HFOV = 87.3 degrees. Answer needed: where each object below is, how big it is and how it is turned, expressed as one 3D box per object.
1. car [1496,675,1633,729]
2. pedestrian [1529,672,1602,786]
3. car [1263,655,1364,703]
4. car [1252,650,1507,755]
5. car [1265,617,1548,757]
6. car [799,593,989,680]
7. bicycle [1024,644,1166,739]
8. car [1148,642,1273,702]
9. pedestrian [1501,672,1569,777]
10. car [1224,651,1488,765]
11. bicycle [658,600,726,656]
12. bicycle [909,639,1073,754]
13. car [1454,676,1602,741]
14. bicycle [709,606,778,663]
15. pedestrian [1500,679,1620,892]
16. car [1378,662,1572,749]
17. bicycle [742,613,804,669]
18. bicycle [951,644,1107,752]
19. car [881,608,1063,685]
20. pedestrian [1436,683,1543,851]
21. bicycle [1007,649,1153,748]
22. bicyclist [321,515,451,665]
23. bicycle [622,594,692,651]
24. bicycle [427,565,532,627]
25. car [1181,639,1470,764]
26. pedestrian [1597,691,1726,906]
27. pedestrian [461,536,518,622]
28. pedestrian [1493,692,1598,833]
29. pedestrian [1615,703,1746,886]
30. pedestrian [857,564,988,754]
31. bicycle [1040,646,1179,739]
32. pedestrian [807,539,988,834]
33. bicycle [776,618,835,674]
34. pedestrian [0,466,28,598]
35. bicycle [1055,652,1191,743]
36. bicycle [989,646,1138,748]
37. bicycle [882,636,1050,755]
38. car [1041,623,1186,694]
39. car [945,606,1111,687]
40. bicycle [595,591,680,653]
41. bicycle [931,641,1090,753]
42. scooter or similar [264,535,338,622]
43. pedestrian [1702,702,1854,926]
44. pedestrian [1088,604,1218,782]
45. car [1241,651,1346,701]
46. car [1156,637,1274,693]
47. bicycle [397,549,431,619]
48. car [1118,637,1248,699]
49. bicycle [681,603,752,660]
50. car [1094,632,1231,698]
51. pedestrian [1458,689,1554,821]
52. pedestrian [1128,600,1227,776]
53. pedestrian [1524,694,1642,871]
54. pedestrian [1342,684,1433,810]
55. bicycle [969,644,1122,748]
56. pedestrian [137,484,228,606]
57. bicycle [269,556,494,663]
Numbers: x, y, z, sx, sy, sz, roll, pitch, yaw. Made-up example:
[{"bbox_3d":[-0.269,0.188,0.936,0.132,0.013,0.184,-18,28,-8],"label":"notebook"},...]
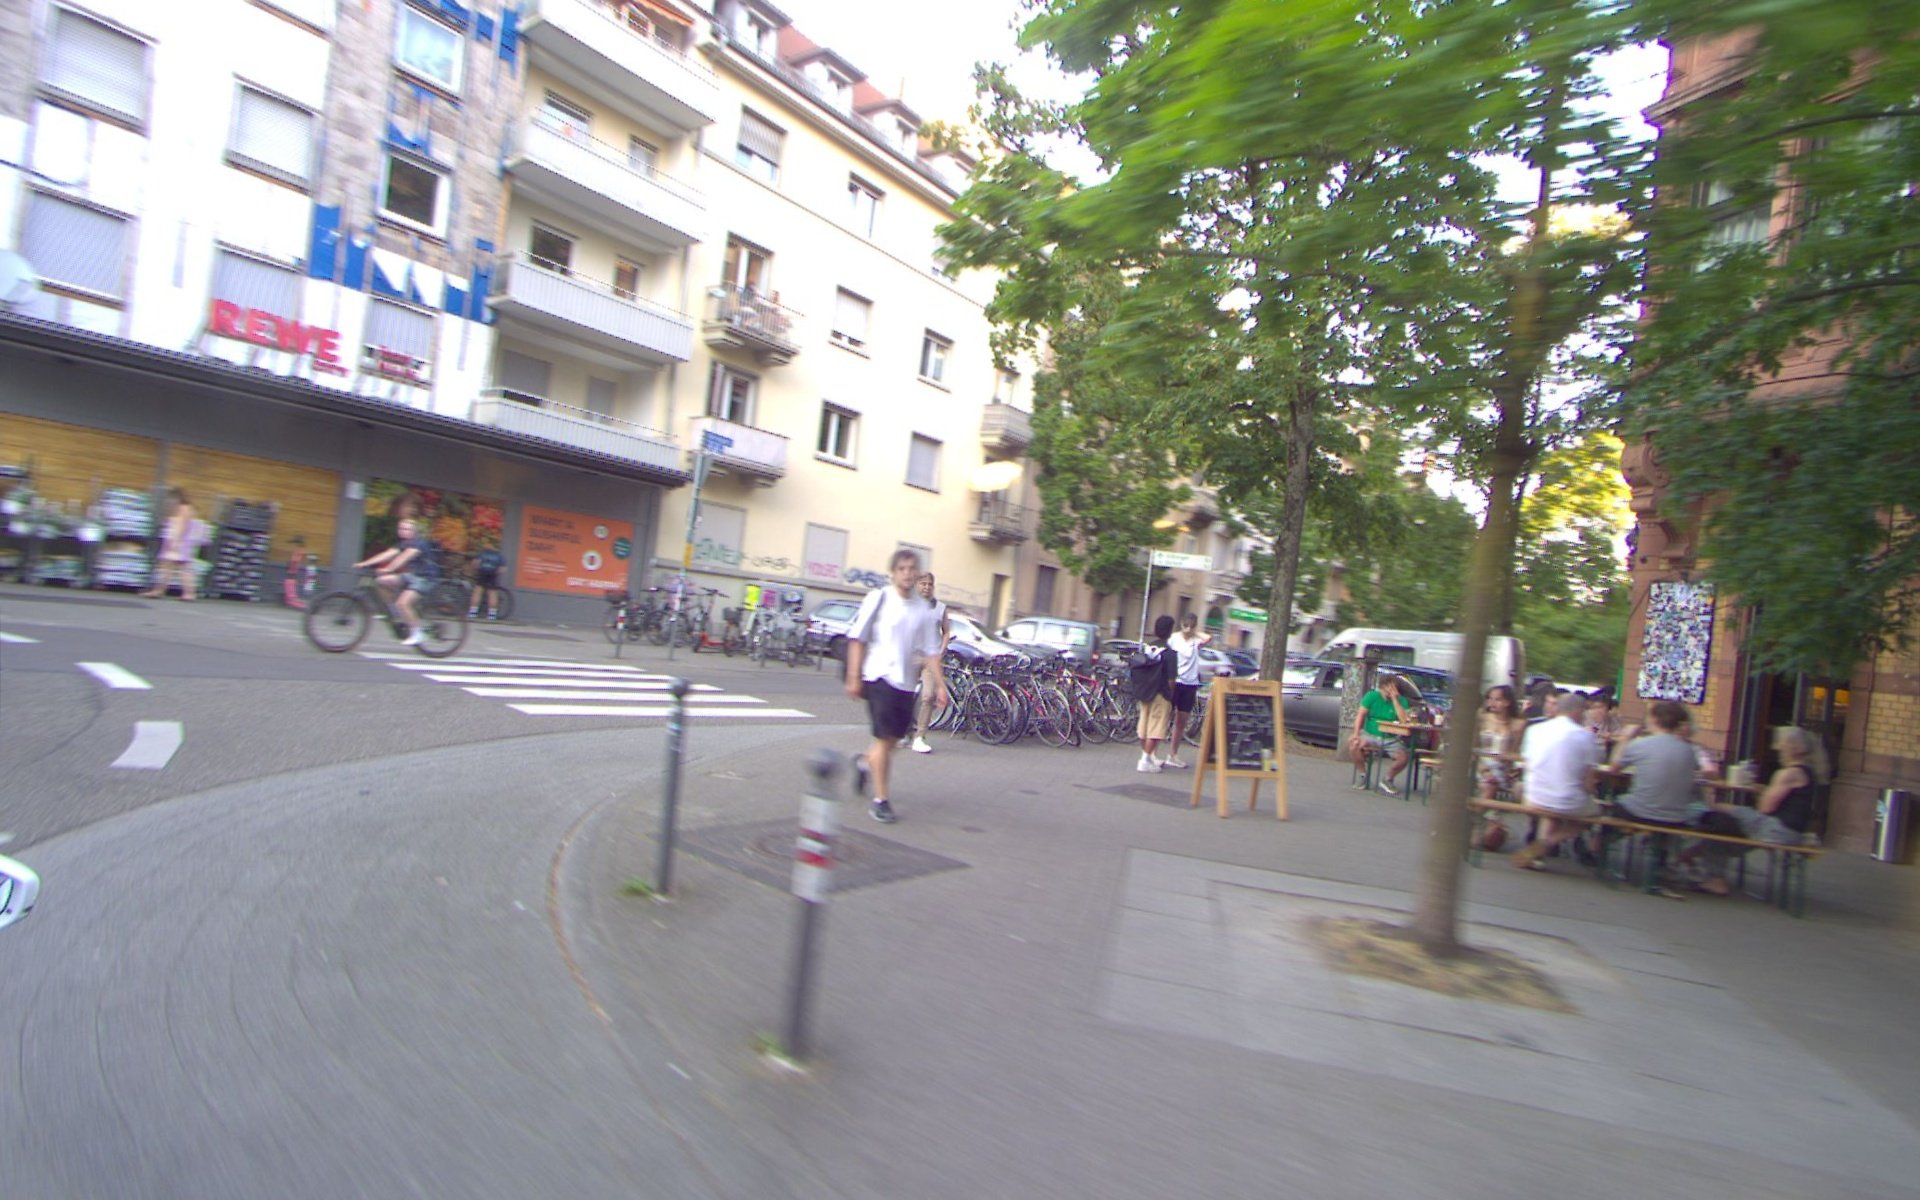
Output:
[{"bbox_3d":[27.780,4.674,46.318,5.122,1.805,1.994,5,-3,38],"label":"car"},{"bbox_3d":[9.766,2.073,16.222,0.737,1.696,0.763,5,-2,43],"label":"pedestrian"},{"bbox_3d":[17.364,3.885,49.609,4.459,1.805,2.002,6,-2,18],"label":"car"},{"bbox_3d":[8.763,2.119,21.225,4.480,1.543,1.993,5,-3,40],"label":"car"},{"bbox_3d":[10.222,1.939,23.263,5.458,2.448,2.240,5,-2,36],"label":"car"},{"bbox_3d":[-1.575,0.929,25.263,4.460,1.543,2.002,7,-2,1],"label":"car"},{"bbox_3d":[1.968,1.332,14.916,2.003,1.147,0.434,5,-2,35],"label":"bicycle"},{"bbox_3d":[10.123,2.911,40.973,4.459,1.805,2.002,7,-2,3],"label":"car"},{"bbox_3d":[9.962,2.153,17.423,0.737,1.696,0.763,5,-2,43],"label":"pedestrian"},{"bbox_3d":[7.515,2.015,19.287,4.232,1.543,1.904,5,-3,40],"label":"car"},{"bbox_3d":[-5.499,0.604,20.732,0.370,1.038,2.018,6,-2,12],"label":"bicycle"},{"bbox_3d":[0.353,1.169,12.447,2.003,1.147,0.434,5,-2,35],"label":"bicycle"},{"bbox_3d":[21.303,4.057,37.816,4.477,1.805,1.994,5,-3,38],"label":"car"},{"bbox_3d":[-4.389,0.734,20.556,0.482,1.038,2.018,6,-2,12],"label":"bicycle"},{"bbox_3d":[4.270,1.291,7.190,0.458,1.396,0.547,6,-1,11],"label":"pedestrian"},{"bbox_3d":[14.533,2.951,28.497,4.477,1.805,1.994,5,-3,38],"label":"car"},{"bbox_3d":[-3.817,0.868,20.655,0.482,1.038,2.018,6,-2,10],"label":"bicycle"},{"bbox_3d":[0.876,1.264,13.261,2.003,1.147,0.434,5,-2,35],"label":"bicycle"},{"bbox_3d":[0.336,1.278,27.645,4.462,1.543,2.001,6,-2,23],"label":"car"},{"bbox_3d":[4.408,1.367,8.415,0.563,1.284,0.547,6,-1,15],"label":"pedestrian"},{"bbox_3d":[1.696,1.383,14.425,2.003,1.147,0.434,5,-2,35],"label":"bicycle"},{"bbox_3d":[-7.164,-0.107,12.578,0.778,1.709,0.996,7,0,30],"label":"bicyclist"},{"bbox_3d":[-6.258,0.490,20.896,0.370,1.038,2.018,6,-2,12],"label":"bicycle"},{"bbox_3d":[-9.770,-0.063,20.513,0.372,1.038,1.877,6,-3,37],"label":"bicycle"},{"bbox_3d":[6.277,1.717,17.511,4.232,1.543,1.904,5,-3,40],"label":"car"},{"bbox_3d":[4.963,1.375,7.145,0.458,1.396,0.547,6,-1,11],"label":"pedestrian"},{"bbox_3d":[-9.432,-0.423,20.160,0.708,1.619,0.663,5,-2,43],"label":"pedestrian"},{"bbox_3d":[6.254,1.716,10.787,0.726,1.361,0.628,6,-1,17],"label":"pedestrian"},{"bbox_3d":[5.614,1.491,7.867,0.563,1.284,0.547,6,-1,15],"label":"pedestrian"},{"bbox_3d":[-0.395,0.608,10.528,0.861,1.849,0.829,8,-2,-35],"label":"pedestrian"},{"bbox_3d":[2.251,1.390,15.332,2.003,1.147,0.434,5,-2,35],"label":"bicycle"},{"bbox_3d":[-0.392,0.573,6.907,0.852,1.790,0.950,6,-1,9],"label":"pedestrian"},{"bbox_3d":[-3.126,0.953,20.531,0.482,1.038,2.018,6,-2,10],"label":"bicycle"},{"bbox_3d":[-12.723,-0.920,12.886,0.700,1.671,0.719,6,-1,13],"label":"pedestrian"},{"bbox_3d":[2.516,1.502,15.718,2.003,1.147,0.434,5,-2,35],"label":"bicycle"},{"bbox_3d":[1.412,1.333,14.040,2.003,1.147,0.434,5,-2,35],"label":"bicycle"},{"bbox_3d":[0.037,1.109,12.013,2.003,1.147,0.434,5,-2,35],"label":"bicycle"},{"bbox_3d":[5.131,1.972,34.109,4.460,1.805,2.002,7,-2,0],"label":"car"},{"bbox_3d":[2.045,1.383,29.702,4.458,1.805,2.003,6,-2,13],"label":"car"},{"bbox_3d":[-6.248,0.451,19.571,0.371,1.038,1.660,6,-2,31],"label":"bicycle"},{"bbox_3d":[0.612,1.212,12.851,2.003,1.147,0.434,5,-2,35],"label":"bicycle"},{"bbox_3d":[-10.938,-0.369,16.681,1.267,1.281,0.322,8,0,28],"label":"scooter or similar"},{"bbox_3d":[5.637,1.441,6.963,0.563,1.396,0.547,6,-1,20],"label":"pedestrian"},{"bbox_3d":[2.041,0.981,10.659,0.831,1.743,0.859,8,-2,-39],"label":"pedestrian"},{"bbox_3d":[15.737,3.590,47.625,4.459,1.805,2.002,6,-2,18],"label":"car"},{"bbox_3d":[10.941,2.797,43.394,4.459,1.805,2.002,7,-2,3],"label":"car"},{"bbox_3d":[-10.208,-0.299,18.798,0.345,1.217,1.795,7,-2,-31],"label":"bicycle"},{"bbox_3d":[8.574,2.624,38.934,4.459,1.805,2.002,7,-2,3],"label":"car"},{"bbox_3d":[-4.974,0.666,20.651,0.482,1.038,2.018,6,-2,12],"label":"bicycle"},{"bbox_3d":[7.324,2.365,36.707,4.460,1.805,2.002,7,-2,0],"label":"car"},{"bbox_3d":[6.225,1.745,11.498,0.726,1.361,0.628,6,-1,17],"label":"pedestrian"},{"bbox_3d":[2.471,0.991,11.547,0.852,1.849,0.838,6,-1,8],"label":"pedestrian"},{"bbox_3d":[4.997,1.440,8.100,0.563,1.284,0.547,6,-1,15],"label":"pedestrian"},{"bbox_3d":[4.672,1.589,11.038,0.726,1.246,0.628,6,-2,17],"label":"pedestrian"},{"bbox_3d":[1.131,1.280,13.652,2.003,1.147,0.434,5,-2,35],"label":"bicycle"},{"bbox_3d":[-12.029,-0.838,15.577,0.654,1.746,0.723,6,-1,21],"label":"pedestrian"},{"bbox_3d":[-7.178,0.162,12.636,0.778,1.085,2.282,7,-1,31],"label":"bicycle"}]
